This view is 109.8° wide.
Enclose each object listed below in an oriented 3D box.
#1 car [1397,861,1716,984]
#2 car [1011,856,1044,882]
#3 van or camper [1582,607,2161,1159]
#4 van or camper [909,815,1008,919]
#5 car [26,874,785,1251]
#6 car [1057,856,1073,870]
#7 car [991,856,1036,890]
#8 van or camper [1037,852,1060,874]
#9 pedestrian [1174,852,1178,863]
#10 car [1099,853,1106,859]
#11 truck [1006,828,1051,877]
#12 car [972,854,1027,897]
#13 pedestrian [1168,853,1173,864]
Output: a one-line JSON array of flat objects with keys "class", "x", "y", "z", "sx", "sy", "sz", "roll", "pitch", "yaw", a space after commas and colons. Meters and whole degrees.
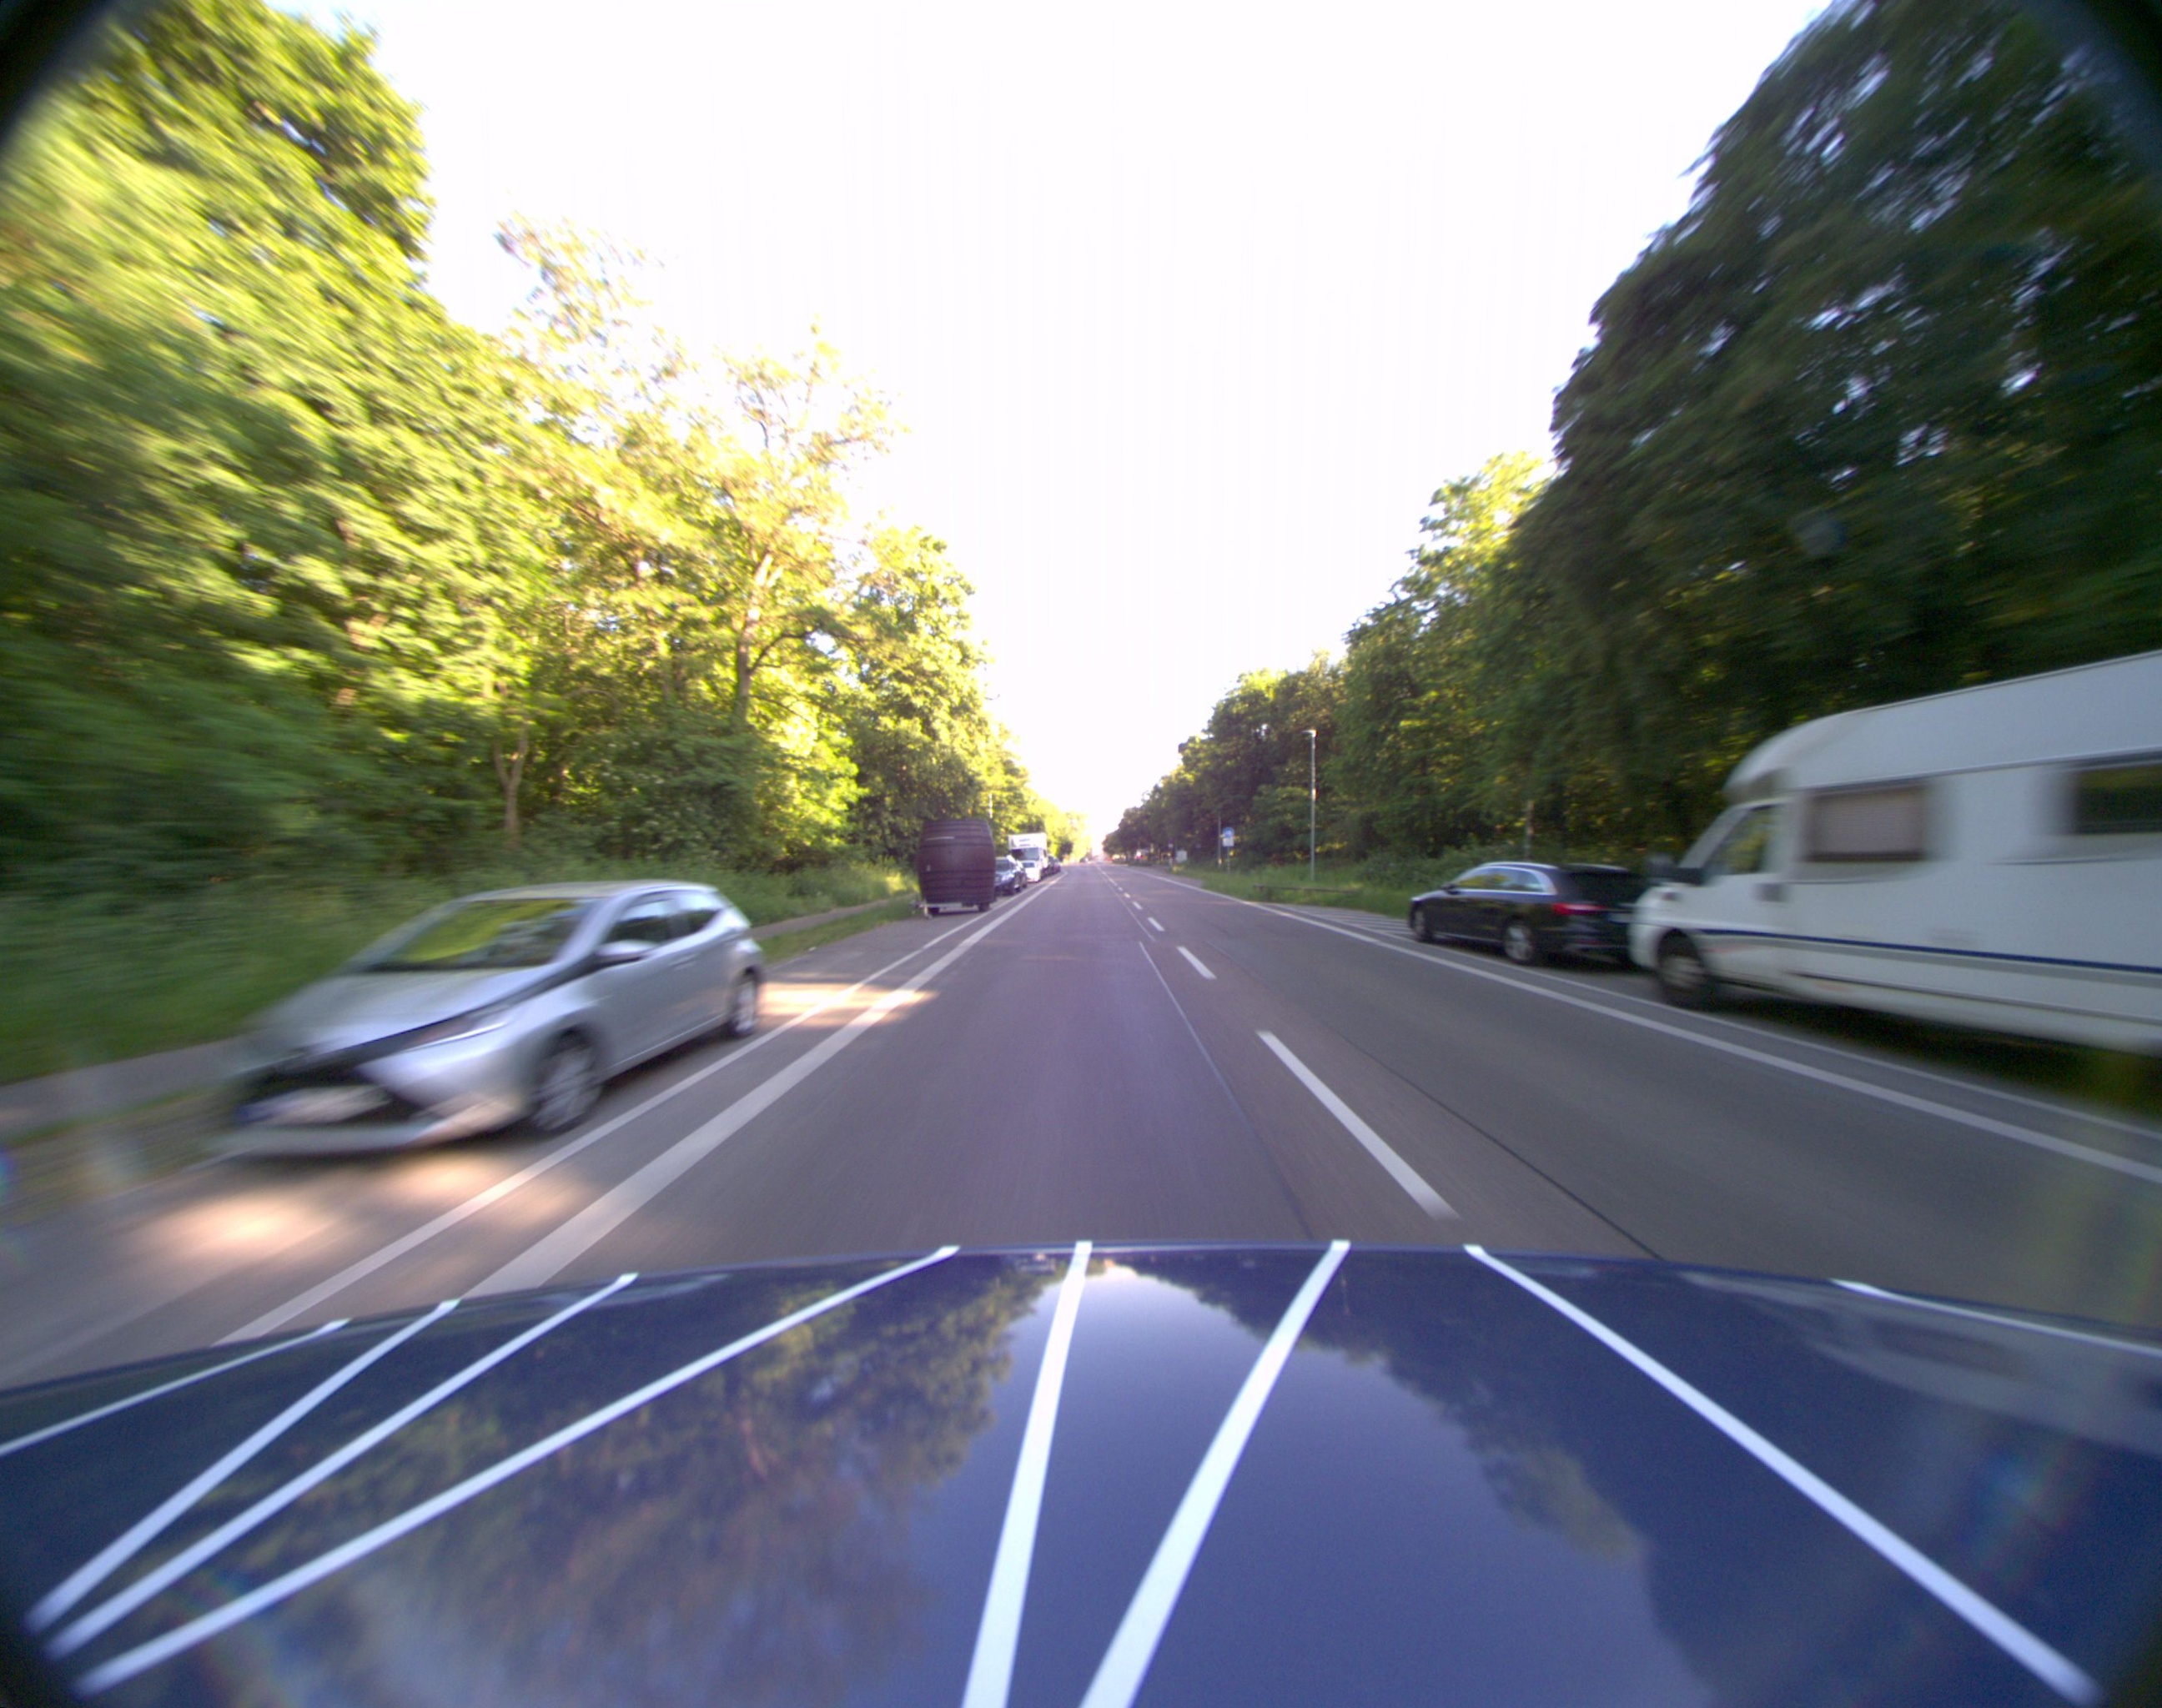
[{"class": "car", "x": 6.851, "y": 0.870, "z": 11.712, "sx": 1.832, "sy": 1.467, "sz": 4.680, "roll": 0, "pitch": 0, "yaw": -2}, {"class": "car", "x": -3.406, "y": 0.927, "z": 48.871, "sx": 1.716, "sy": 1.559, "sz": 4.000, "roll": -3, "pitch": 0, "yaw": 1}, {"class": "van or camper", "x": 6.917, "y": 0.169, "z": 4.995, "sx": 2.321, "sy": 2.952, "sz": 7.109, "roll": 1, "pitch": 0, "yaw": -2}, {"class": "van or camper", "x": -3.759, "y": 0.368, "z": 24.690, "sx": 2.448, "sy": 2.783, "sz": 6.554, "roll": -3, "pitch": 0, "yaw": -4}, {"class": "car", "x": -3.874, "y": 1.014, "z": 5.476, "sx": 1.716, "sy": 1.536, "sz": 4.022, "roll": -3, "pitch": 0, "yaw": 2}, {"class": "car", "x": -1.932, "y": 1.100, "z": 95.088, "sx": 1.803, "sy": 1.585, "sz": 4.029, "roll": -1, "pitch": 0, "yaw": 1}, {"class": "car", "x": -3.500, "y": 0.956, "z": 40.095, "sx": 1.716, "sy": 1.559, "sz": 4.552, "roll": -3, "pitch": 0, "yaw": 2}, {"class": "van or camper", "x": -3.088, "y": 0.816, "z": 73.143, "sx": 1.902, "sy": 2.002, "sz": 4.587, "roll": -1, "pitch": 0, "yaw": 1}, {"class": "pedestrian", "x": 14.444, "y": 0.571, "z": 115.518, "sx": 0.676, "sy": 1.644, "sz": 0.790, "roll": -1, "pitch": 0, "yaw": 5}, {"class": "car", "x": 6.273, "y": 0.598, "z": 222.959, "sx": 1.830, "sy": 1.517, "sz": 3.943, "roll": -1, "pitch": 0, "yaw": -2}, {"class": "truck", "x": -3.855, "y": -0.107, "z": 58.092, "sx": 2.840, "sy": 3.477, "sz": 8.577, "roll": -1, "pitch": 0, "yaw": 0}, {"class": "car", "x": -3.485, "y": 0.888, "z": 33.261, "sx": 1.716, "sy": 1.655, "sz": 4.552, "roll": -3, "pitch": 0, "yaw": 2}, {"class": "pedestrian", "x": 13.647, "y": 0.683, "z": 115.660, "sx": 0.676, "sy": 1.644, "sz": 0.790, "roll": -1, "pitch": 0, "yaw": 5}]
